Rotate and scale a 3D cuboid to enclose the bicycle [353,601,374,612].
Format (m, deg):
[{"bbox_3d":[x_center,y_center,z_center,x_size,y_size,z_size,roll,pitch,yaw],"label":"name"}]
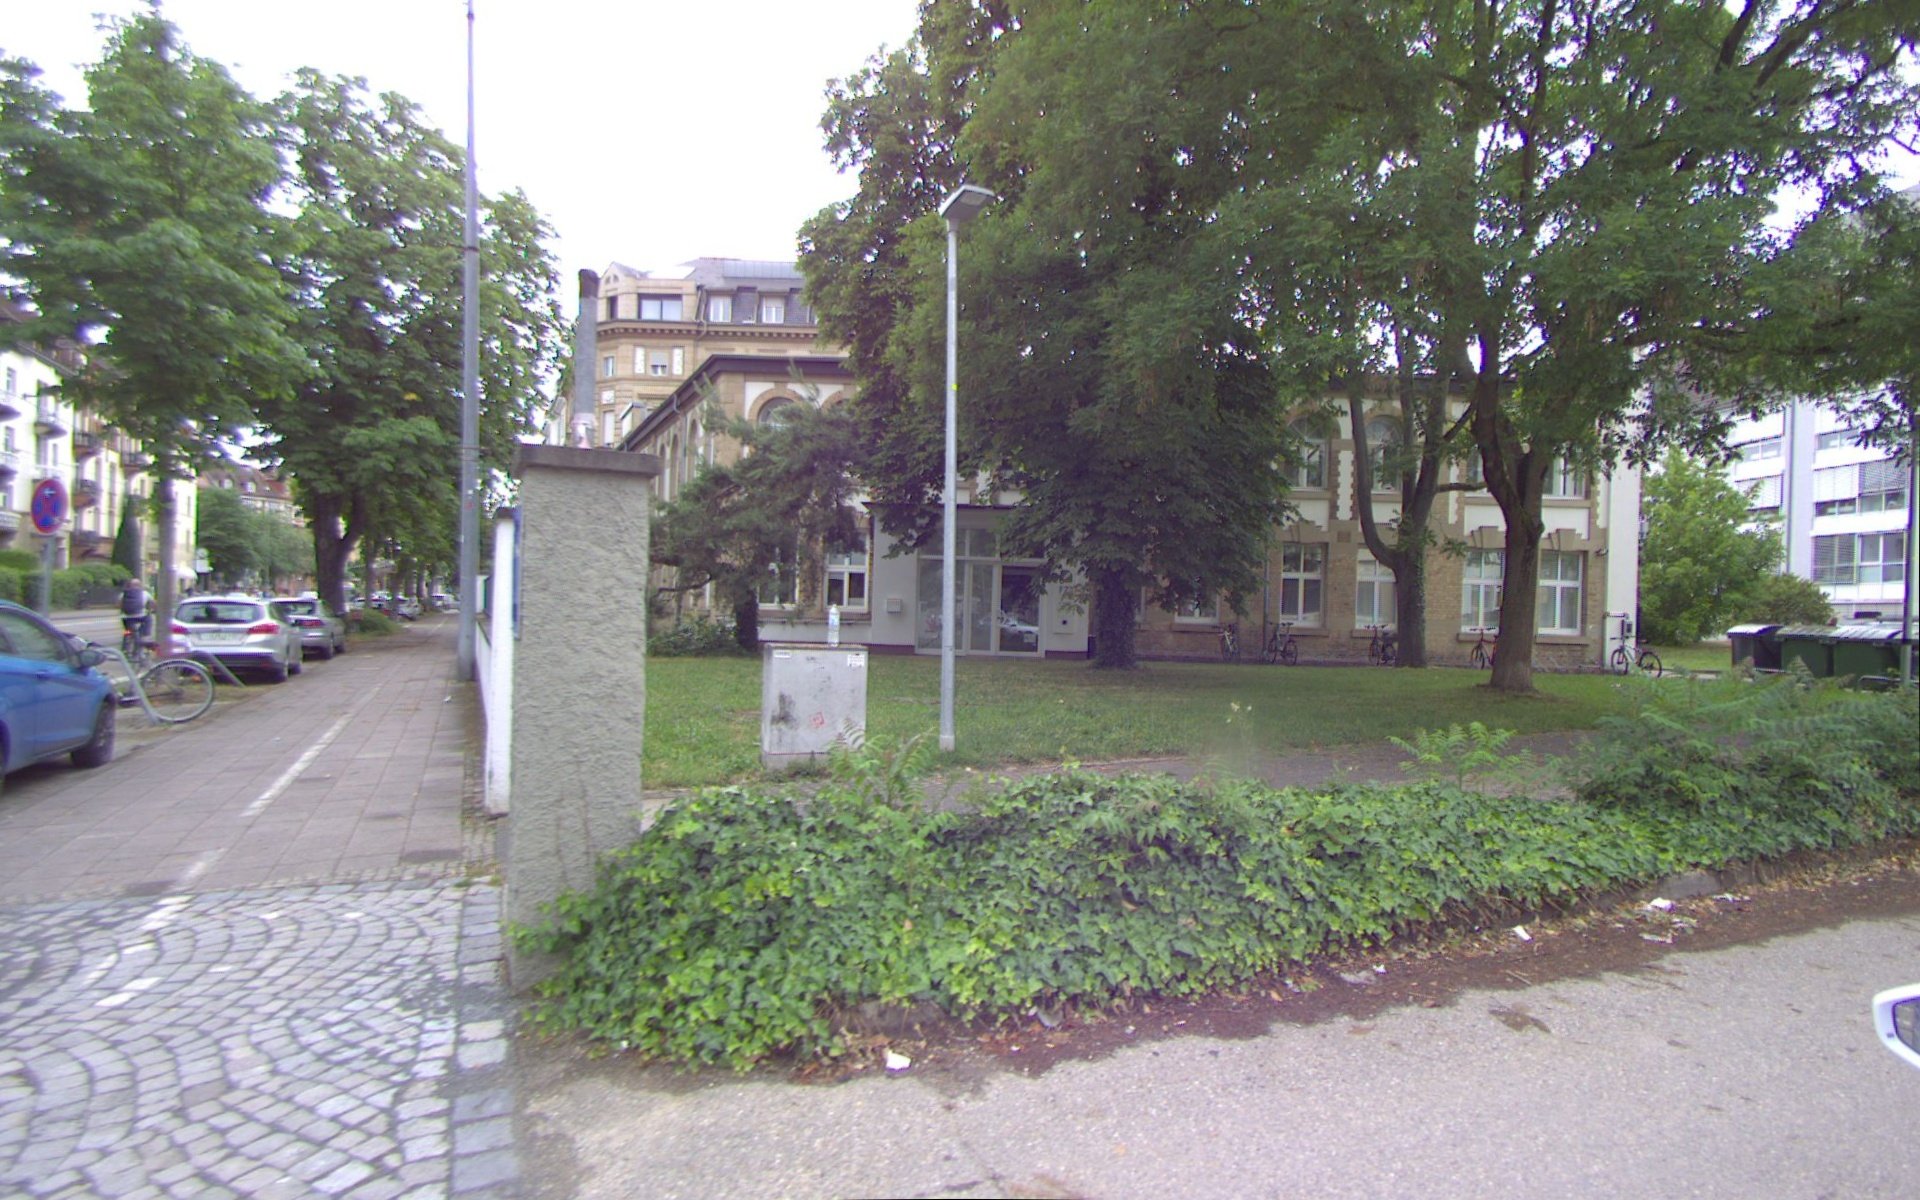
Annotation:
[{"bbox_3d":[-48.274,0.524,81.239,1.435,0.811,0.431,1,0,-34],"label":"bicycle"}]

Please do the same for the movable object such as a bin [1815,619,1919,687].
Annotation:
[{"bbox_3d":[18.155,1.031,20.027,1.036,1.281,1.353,1,0,-5],"label":"movable object such as a bin"}]

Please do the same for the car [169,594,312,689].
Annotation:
[{"bbox_3d":[-12.573,0.673,17.740,1.461,1.500,3.541,2,-1,-27],"label":"car"}]

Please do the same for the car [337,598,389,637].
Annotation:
[{"bbox_3d":[-21.619,0.628,36.472,1.495,1.320,3.154,1,0,-29],"label":"car"}]

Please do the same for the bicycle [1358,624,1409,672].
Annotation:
[{"bbox_3d":[10.902,1.218,25.935,0.606,1.134,2.222,1,0,7],"label":"bicycle"}]

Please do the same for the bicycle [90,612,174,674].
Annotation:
[{"bbox_3d":[-16.116,0.817,19.602,0.656,1.131,1.857,3,-1,-21],"label":"bicycle"}]

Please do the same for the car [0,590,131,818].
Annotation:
[{"bbox_3d":[-7.469,0.669,7.160,1.658,1.480,3.409,0,0,-27],"label":"car"}]

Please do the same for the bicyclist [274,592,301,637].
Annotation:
[{"bbox_3d":[-24.594,0.535,36.755,0.651,1.632,0.914,1,0,-25],"label":"bicyclist"}]

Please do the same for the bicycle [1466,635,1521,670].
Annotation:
[{"bbox_3d":[13.737,1.340,25.921,0.606,0.824,1.946,1,0,7],"label":"bicycle"}]

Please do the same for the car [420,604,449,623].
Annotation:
[{"bbox_3d":[-41.634,1.072,79.597,1.751,1.417,3.772,1,0,-24],"label":"car"}]

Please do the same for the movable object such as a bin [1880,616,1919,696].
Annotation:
[{"bbox_3d":[18.112,1.045,18.515,1.036,1.475,1.353,2,0,-5],"label":"movable object such as a bin"}]

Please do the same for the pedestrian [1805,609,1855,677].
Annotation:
[{"bbox_3d":[23.786,1.176,27.471,0.742,1.832,0.698,1,-2,-3],"label":"pedestrian"}]

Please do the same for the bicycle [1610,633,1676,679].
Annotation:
[{"bbox_3d":[17.554,1.423,25.855,0.388,1.079,1.828,1,0,-1],"label":"bicycle"}]

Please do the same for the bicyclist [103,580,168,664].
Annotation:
[{"bbox_3d":[-16.115,0.431,19.658,0.654,1.590,0.981,2,-1,-21],"label":"bicyclist"}]

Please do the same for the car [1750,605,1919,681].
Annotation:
[{"bbox_3d":[25.825,1.256,29.262,4.268,2.040,1.853,2,-1,-4],"label":"car"}]

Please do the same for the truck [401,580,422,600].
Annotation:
[{"bbox_3d":[-114.856,-2.040,210.347,3.774,4.083,10.138,1,0,-29],"label":"truck"}]

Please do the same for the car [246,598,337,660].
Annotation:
[{"bbox_3d":[-15.671,0.643,23.674,1.495,1.320,3.154,1,0,-29],"label":"car"}]

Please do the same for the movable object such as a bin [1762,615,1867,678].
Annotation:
[{"bbox_3d":[18.228,0.976,21.460,1.036,1.281,1.352,1,0,-8],"label":"movable object such as a bin"}]

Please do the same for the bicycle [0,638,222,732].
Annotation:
[{"bbox_3d":[-9.562,0.922,11.278,1.995,0.970,0.529,1,0,-30],"label":"bicycle"}]

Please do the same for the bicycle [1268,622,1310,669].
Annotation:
[{"bbox_3d":[8.455,1.142,25.897,0.606,1.134,2.222,1,0,7],"label":"bicycle"}]

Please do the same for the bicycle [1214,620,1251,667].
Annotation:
[{"bbox_3d":[7.073,1.105,26.132,0.606,1.134,2.222,1,0,7],"label":"bicycle"}]
